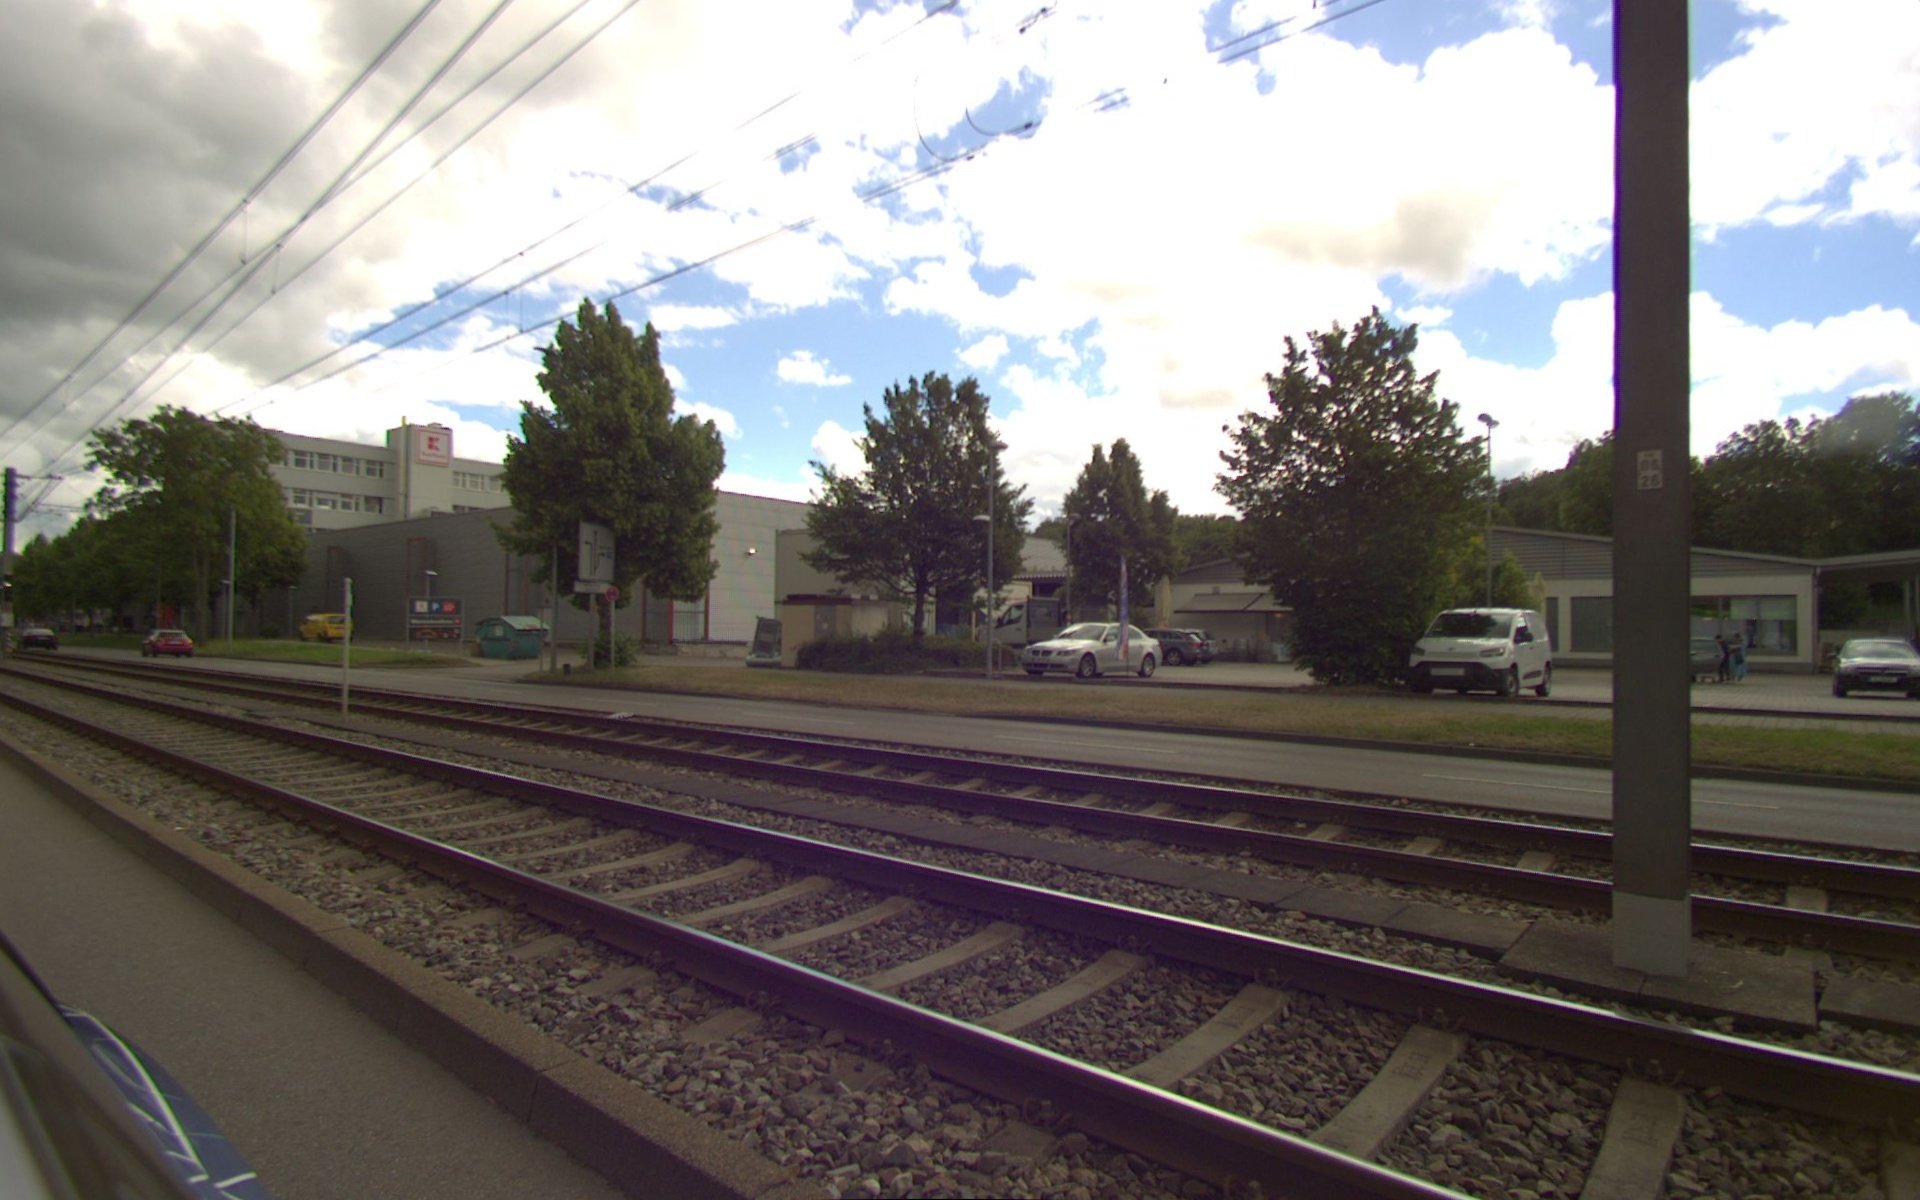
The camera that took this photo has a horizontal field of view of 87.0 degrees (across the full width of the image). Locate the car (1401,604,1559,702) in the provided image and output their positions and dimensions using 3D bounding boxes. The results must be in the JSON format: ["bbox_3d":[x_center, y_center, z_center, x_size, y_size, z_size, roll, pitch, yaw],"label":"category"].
[{"bbox_3d":[10.490,1.041,20.282,1.993,1.740,4.178,-2,-3,39],"label":"car"}]

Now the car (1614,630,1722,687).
[{"bbox_3d":[22.460,1.811,32.058,2.465,1.652,3.881,-2,-3,40],"label":"car"}]

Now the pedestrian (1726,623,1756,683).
[{"bbox_3d":[24.522,1.663,31.770,0.663,1.869,0.539,-2,-3,41],"label":"pedestrian"}]

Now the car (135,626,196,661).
[{"bbox_3d":[-42.970,2.337,54.706,3.996,1.785,1.774,-2,-3,39],"label":"car"}]

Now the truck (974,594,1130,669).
[{"bbox_3d":[3.118,1.112,35.223,5.261,2.401,1.972,-2,-3,41],"label":"truck"}]

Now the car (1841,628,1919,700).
[{"bbox_3d":[22.745,1.534,24.773,1.687,1.652,3.881,-2,-3,40],"label":"car"}]

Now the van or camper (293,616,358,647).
[{"bbox_3d":[-43.401,2.156,69.187,5.235,2.029,2.083,-2,-2,38],"label":"van or camper"}]

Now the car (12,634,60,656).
[{"bbox_3d":[-61.515,2.990,67.337,4.440,1.412,1.741,-2,-5,40],"label":"car"}]

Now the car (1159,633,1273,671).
[{"bbox_3d":[9.823,1.969,38.956,3.991,1.411,1.596,-1,-2,36],"label":"car"}]

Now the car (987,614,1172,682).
[{"bbox_3d":[3.238,1.261,26.820,2.651,1.641,4.730,-3,-3,42],"label":"car"}]
